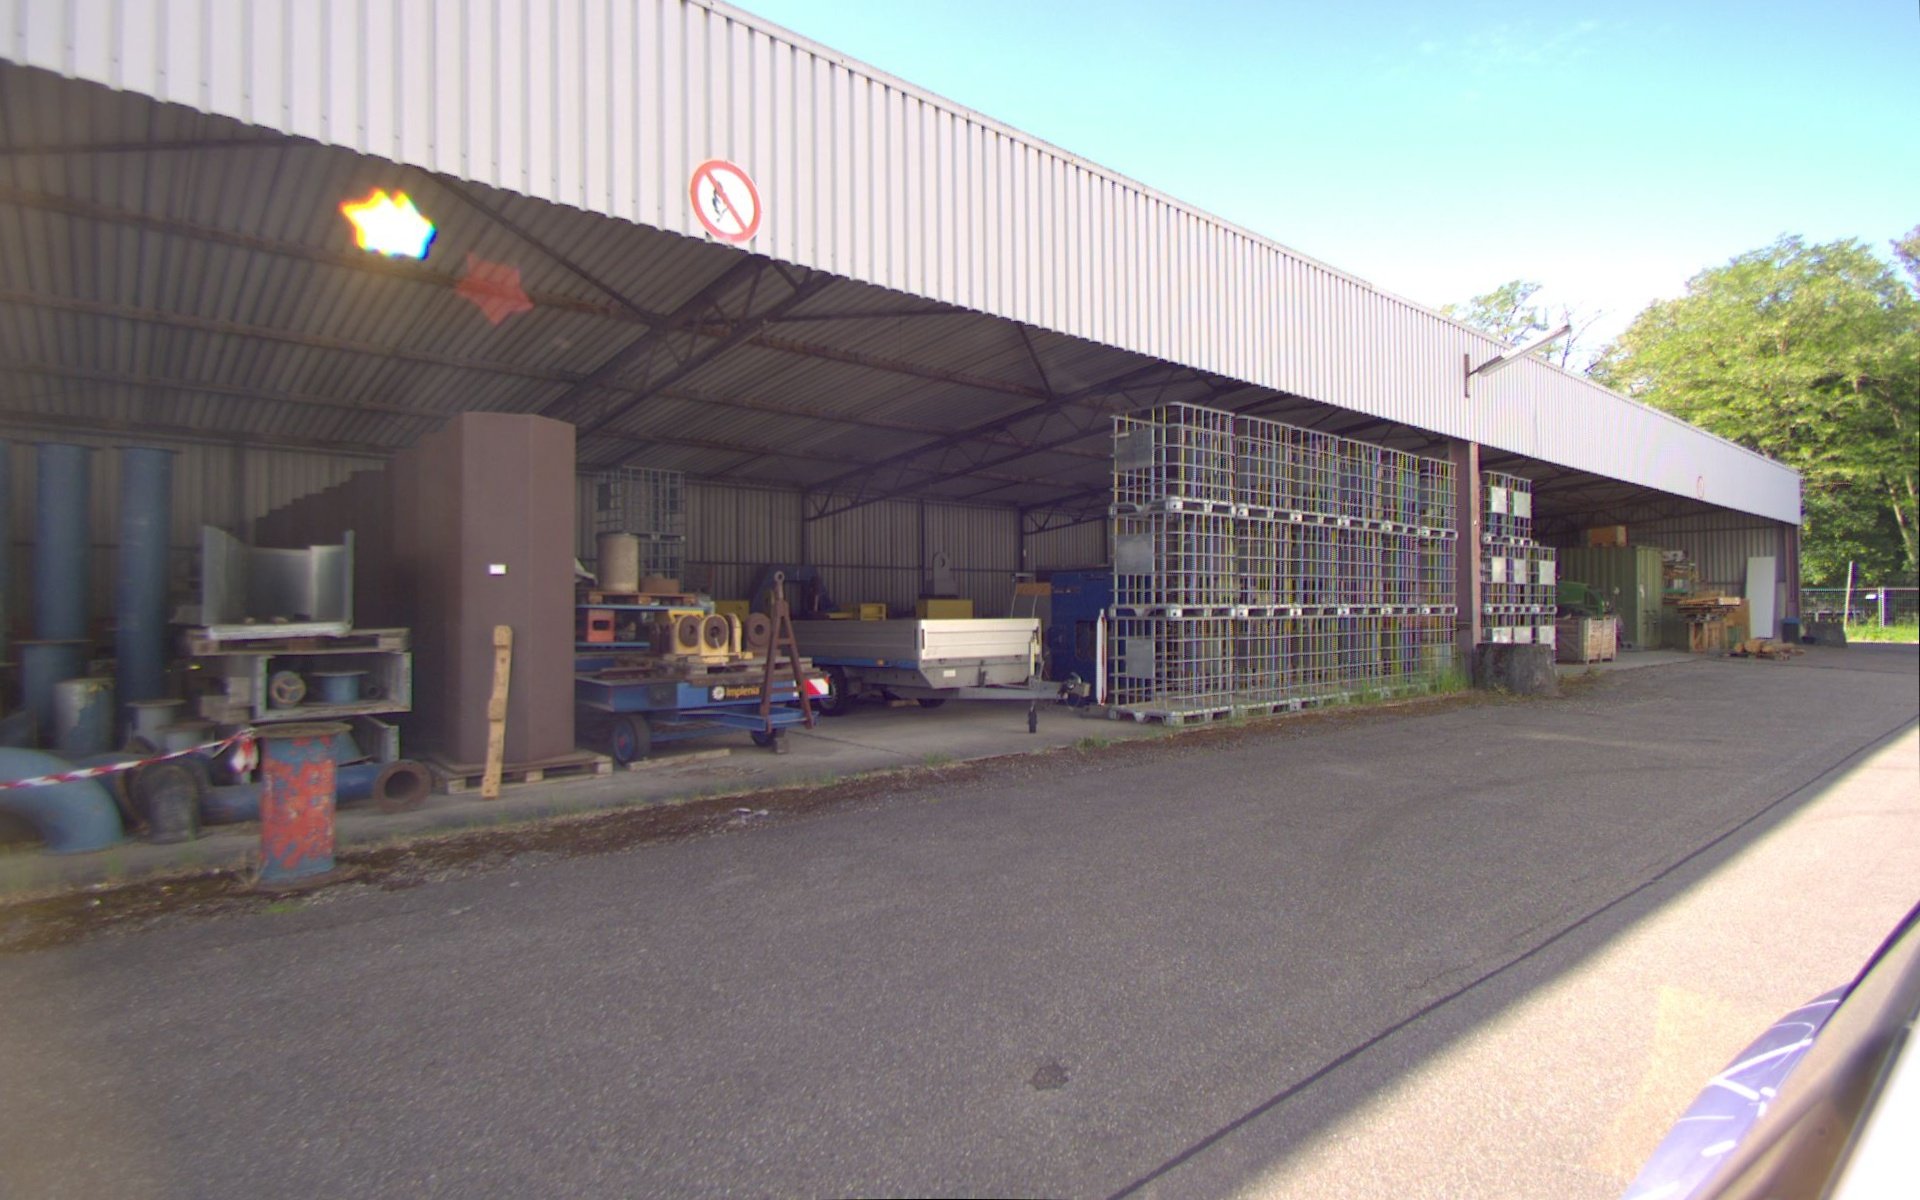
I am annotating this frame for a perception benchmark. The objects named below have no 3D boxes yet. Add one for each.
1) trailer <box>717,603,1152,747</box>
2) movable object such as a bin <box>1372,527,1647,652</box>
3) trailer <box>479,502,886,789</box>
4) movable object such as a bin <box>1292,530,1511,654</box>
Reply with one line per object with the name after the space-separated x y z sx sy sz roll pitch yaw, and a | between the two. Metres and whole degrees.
-0.620 0.693 11.986 1.940 1.200 5.737 -1 1 -41 | trailer
14.493 -0.245 27.027 2.770 2.962 5.845 0 0 -40 | movable object such as a bin
-2.821 0.282 9.509 2.124 2.015 4.433 -1 1 -39 | trailer
11.207 -0.186 25.936 2.453 2.867 4.535 0 -1 -40 | movable object such as a bin
